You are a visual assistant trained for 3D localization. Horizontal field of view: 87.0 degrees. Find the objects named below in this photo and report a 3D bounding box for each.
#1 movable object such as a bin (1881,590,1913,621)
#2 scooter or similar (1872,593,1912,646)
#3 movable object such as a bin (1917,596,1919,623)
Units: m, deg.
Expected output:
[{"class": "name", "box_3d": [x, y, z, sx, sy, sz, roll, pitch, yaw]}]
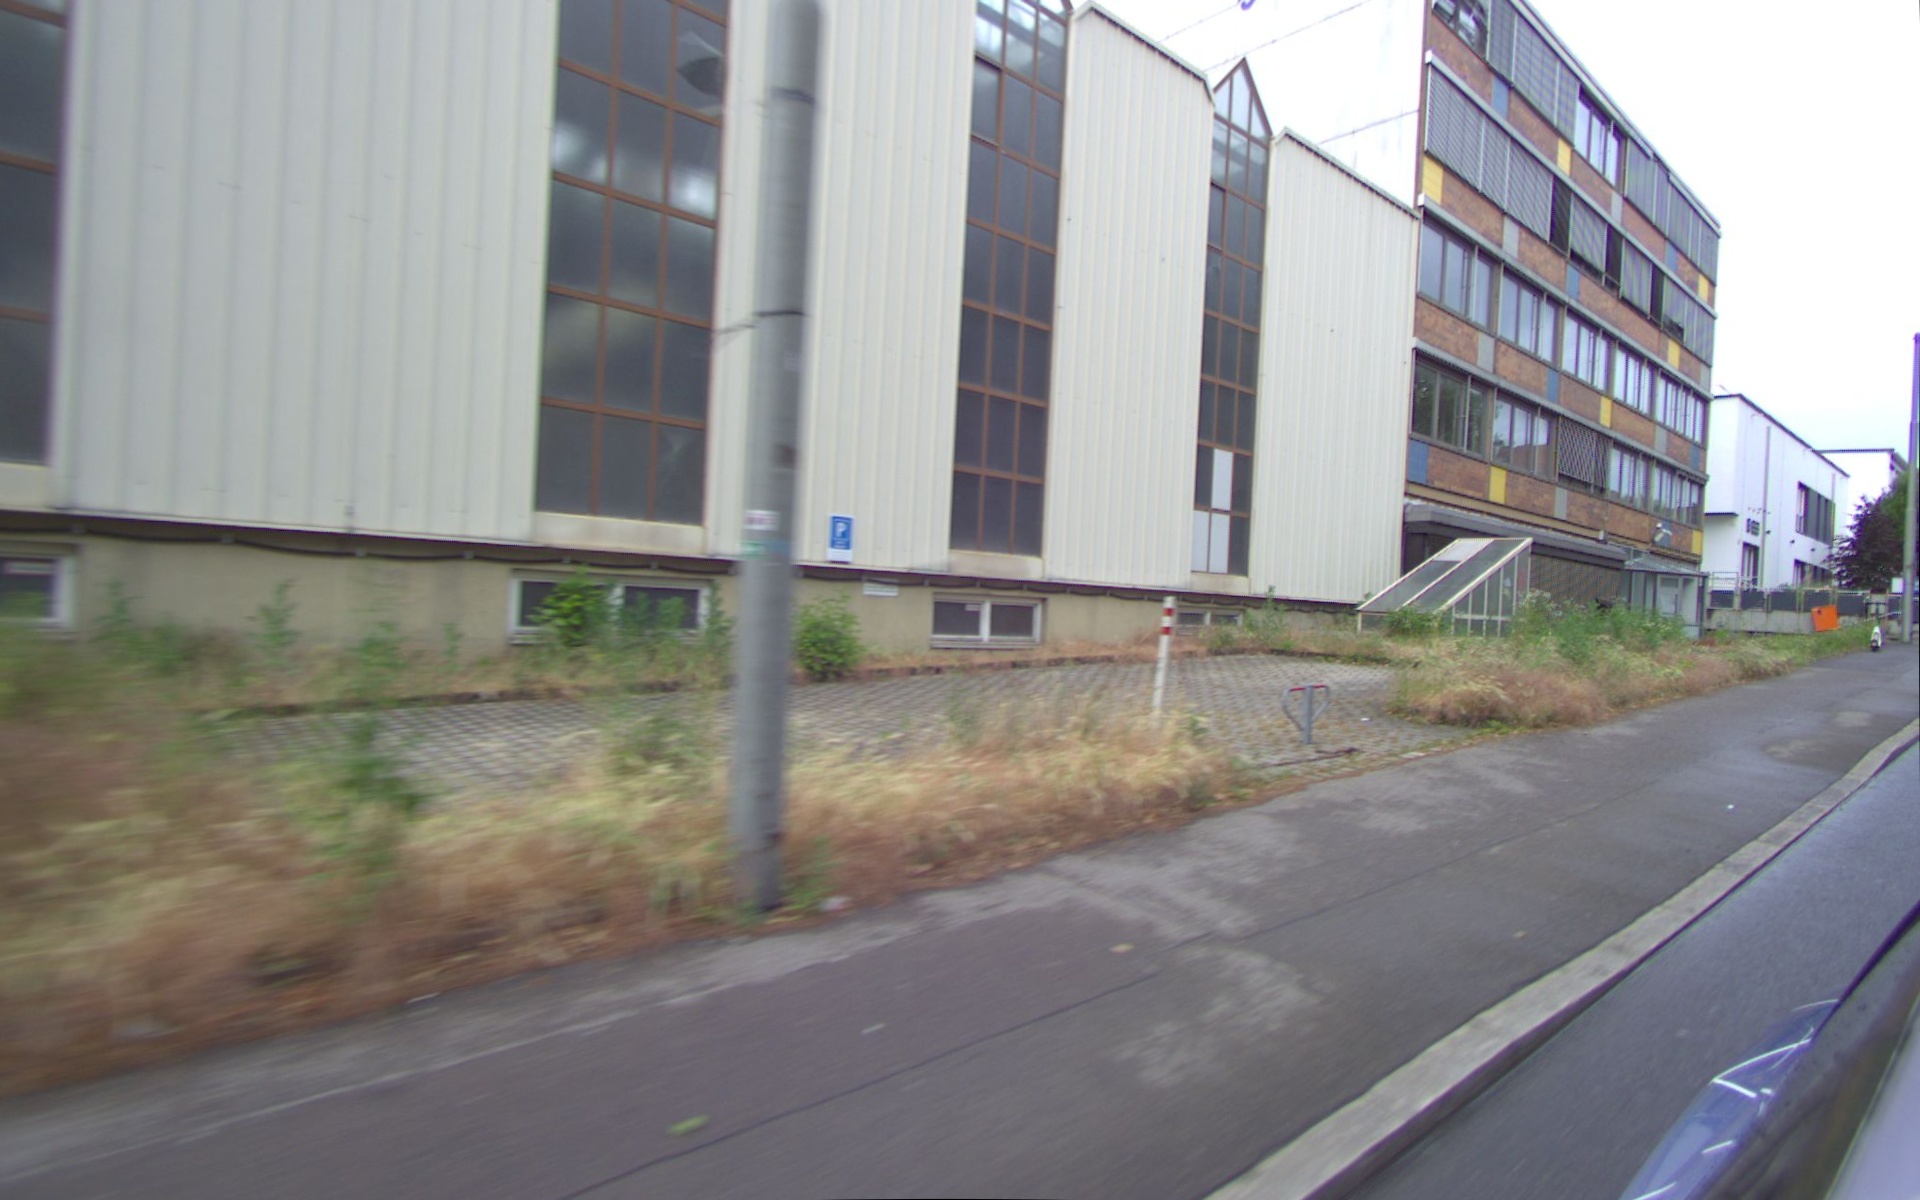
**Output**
[{"class": "movable object such as a bin", "box_3d": [34.605, 0.195, 37.372, 0.764, 1.095, 0.697, 0, 4, -39]}, {"class": "scooter or similar", "box_3d": [21.959, 0.433, 23.846, 0.605, 1.176, 1.672, 2, 2, 45]}, {"class": "movable object such as a bin", "box_3d": [35.262, 0.309, 36.651, 0.764, 1.095, 0.697, 0, 4, -39]}]
